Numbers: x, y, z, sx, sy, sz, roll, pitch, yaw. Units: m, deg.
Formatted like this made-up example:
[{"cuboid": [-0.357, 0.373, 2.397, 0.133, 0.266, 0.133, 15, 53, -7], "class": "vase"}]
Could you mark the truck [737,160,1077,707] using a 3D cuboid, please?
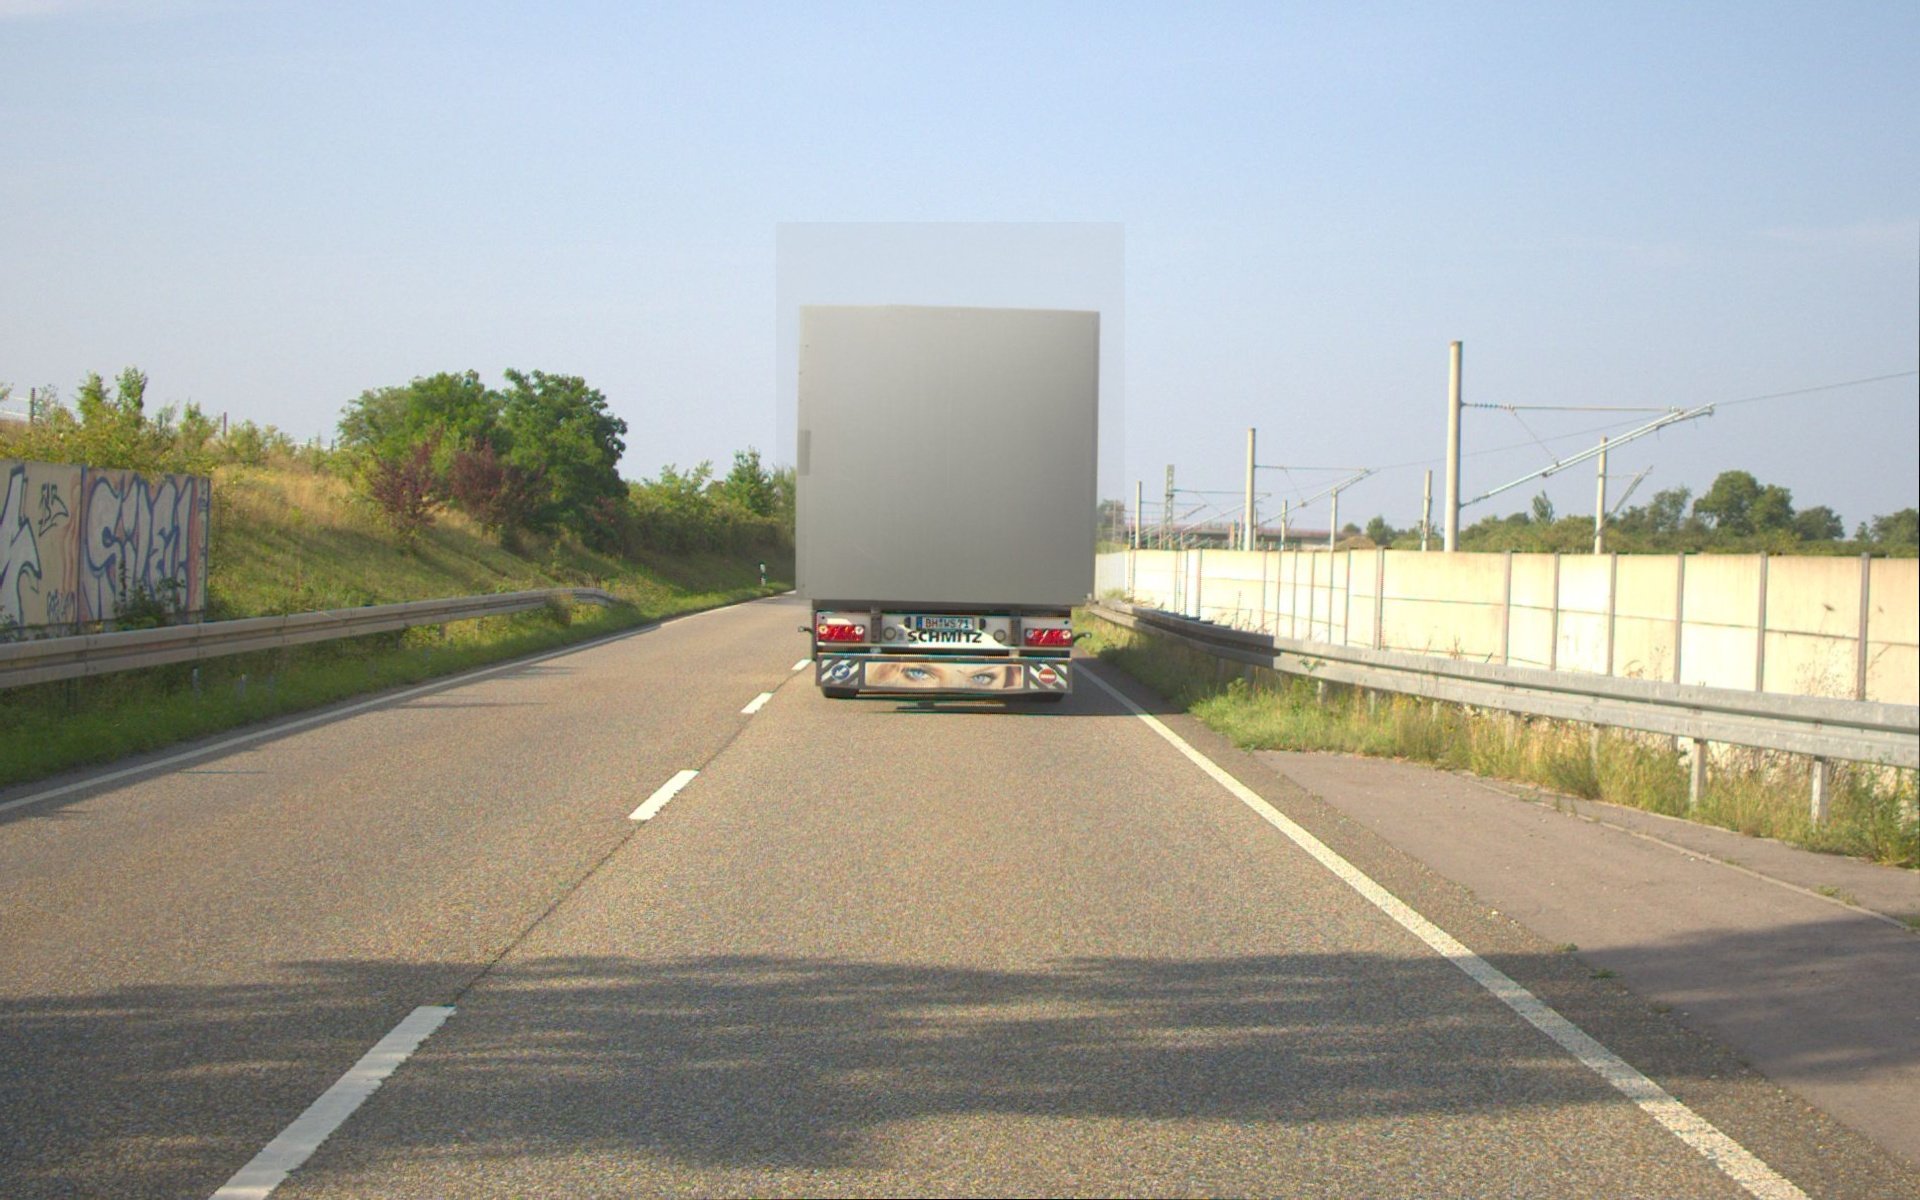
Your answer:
[{"cuboid": [-0.539, -1.628, 36.890, 3.033, 4.903, 11.685, 0, 1, -1], "class": "truck"}]
